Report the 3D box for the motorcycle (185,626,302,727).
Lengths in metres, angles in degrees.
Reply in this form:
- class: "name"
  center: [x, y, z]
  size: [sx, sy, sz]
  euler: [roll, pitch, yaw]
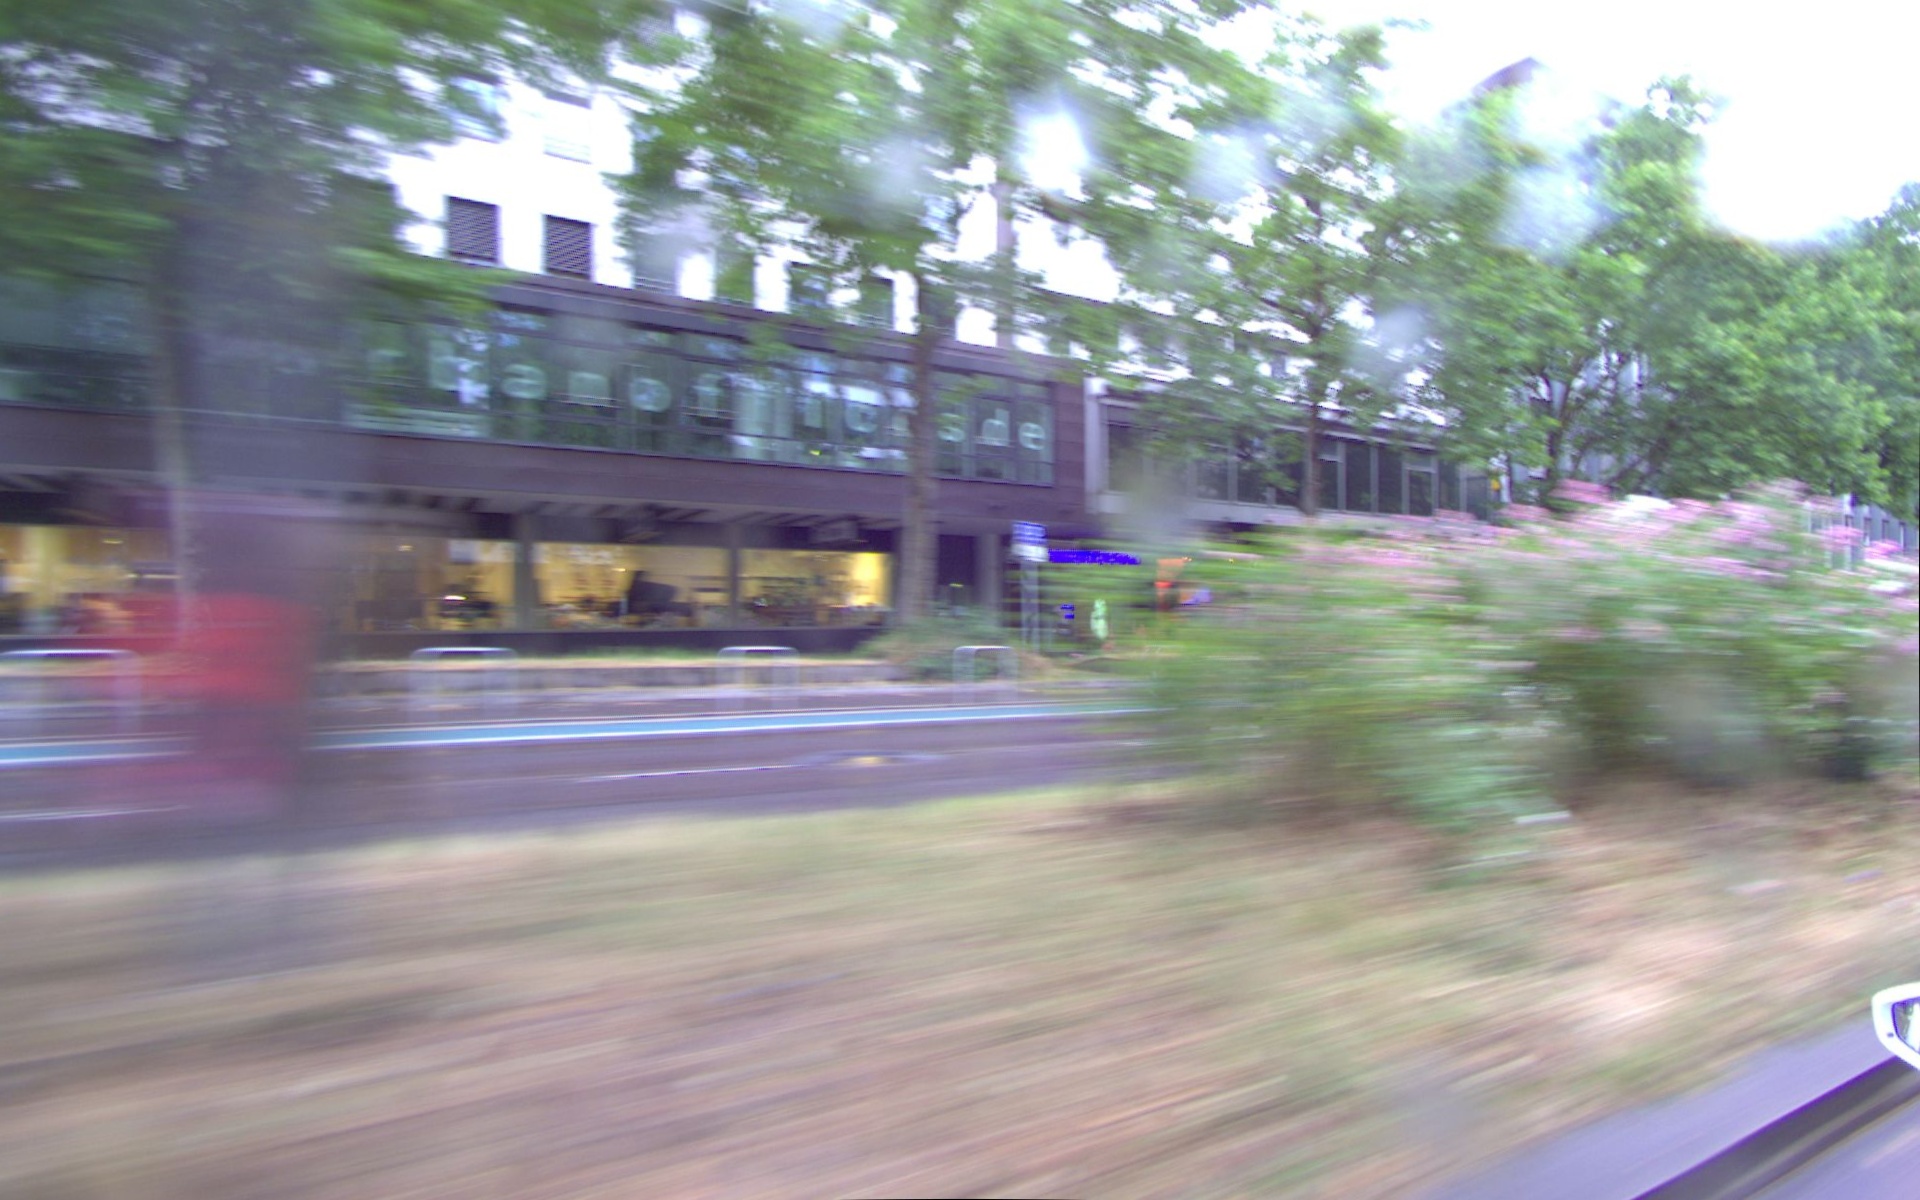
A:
- class: "motorcycle"
  center: [-8.700, 0.895, 12.177]
  size: [1.748, 1.099, 0.495]
  euler: [1, 0, 31]
